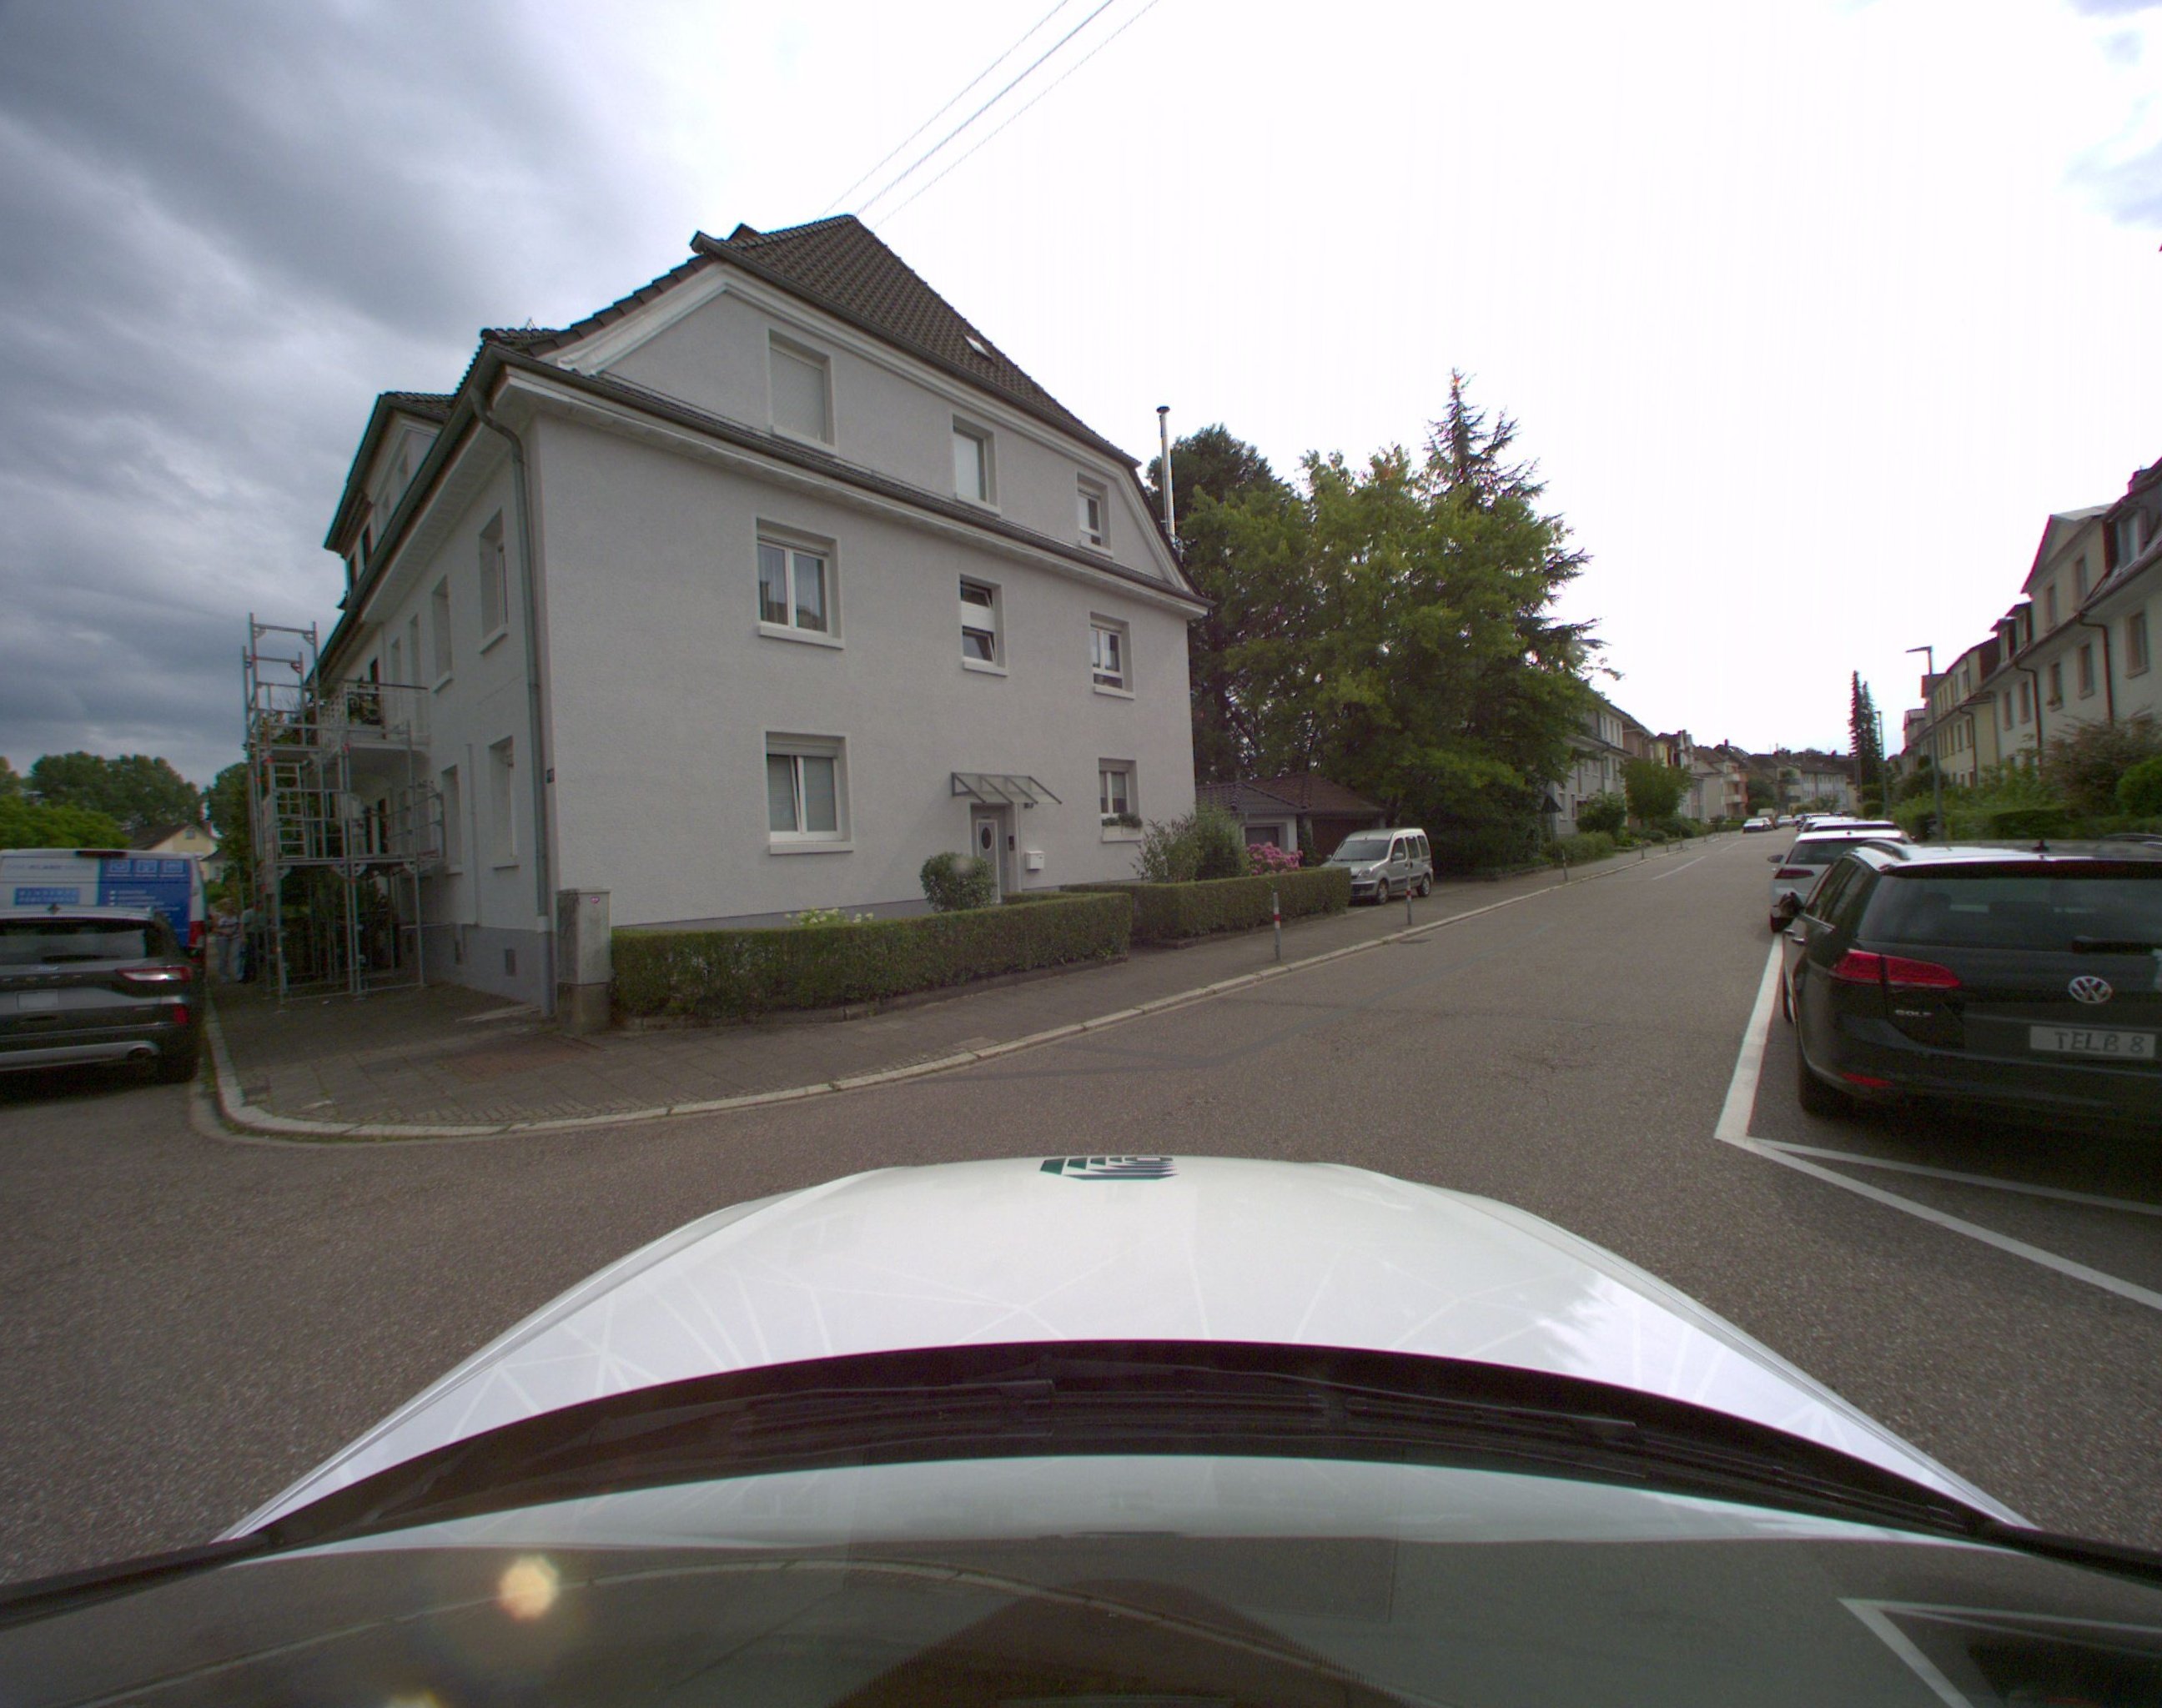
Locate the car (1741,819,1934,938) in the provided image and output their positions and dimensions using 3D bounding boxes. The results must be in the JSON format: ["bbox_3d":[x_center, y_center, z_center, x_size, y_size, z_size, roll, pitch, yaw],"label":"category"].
[{"bbox_3d":[11.551,0.284,12.478,1.836,1.471,4.201,-3,0,44],"label":"car"}]

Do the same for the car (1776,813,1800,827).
[{"bbox_3d":[93.562,-4.485,107.704,4.023,1.640,1.975,-3,0,-44],"label":"car"}]

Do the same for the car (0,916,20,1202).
[{"bbox_3d":[-5.342,1.020,2.505,1.832,1.520,3.993,-2,-2,-42],"label":"car"}]

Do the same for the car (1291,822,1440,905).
[{"bbox_3d":[7.234,0.200,20.514,1.975,1.837,4.024,-3,0,44],"label":"car"}]

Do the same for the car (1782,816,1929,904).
[{"bbox_3d":[15.206,0.067,16.045,1.836,1.471,4.201,-3,0,44],"label":"car"}]

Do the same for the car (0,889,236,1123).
[{"bbox_3d":[-9.890,1.303,7.887,4.285,1.727,2.013,-3,0,40],"label":"car"}]

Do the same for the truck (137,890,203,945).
[{"bbox_3d":[-49.003,3.359,43.786,4.525,2.657,2.150,-3,0,40],"label":"truck"}]

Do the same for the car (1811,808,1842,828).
[{"bbox_3d":[62.815,-3.033,68.611,1.836,1.578,4.201,-3,0,42],"label":"car"}]

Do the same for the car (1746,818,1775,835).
[{"bbox_3d":[72.756,-2.958,87.173,4.023,1.640,1.975,-3,0,-44],"label":"car"}]

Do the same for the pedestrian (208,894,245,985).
[{"bbox_3d":[-17.179,1.715,16.367,0.506,1.762,0.411,-5,-1,39],"label":"pedestrian"}]

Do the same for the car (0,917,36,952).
[{"bbox_3d":[-59.883,4.529,44.099,1.846,1.772,4.026,-5,-1,38],"label":"car"}]

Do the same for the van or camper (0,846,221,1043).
[{"bbox_3d":[-15.157,1.252,12.671,4.989,2.459,2.213,-3,0,42],"label":"van or camper"}]

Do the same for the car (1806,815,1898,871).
[{"bbox_3d":[23.391,-0.370,24.734,1.836,1.471,4.201,-3,0,44],"label":"car"}]

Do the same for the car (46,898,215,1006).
[{"bbox_3d":[-19.393,1.875,16.647,4.285,1.772,2.013,-3,0,40],"label":"car"}]

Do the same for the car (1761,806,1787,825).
[{"bbox_3d":[81.621,-4.553,95.919,1.975,2.013,4.024,-3,0,44],"label":"car"}]

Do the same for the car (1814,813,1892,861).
[{"bbox_3d":[27.145,-0.631,28.659,1.836,1.471,4.201,-3,0,44],"label":"car"}]

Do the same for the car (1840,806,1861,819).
[{"bbox_3d":[99.734,-5.412,105.518,1.836,1.578,4.201,-3,0,44],"label":"car"}]

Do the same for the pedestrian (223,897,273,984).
[{"bbox_3d":[-16.454,1.696,16.094,0.606,1.629,0.617,-3,-2,-44],"label":"pedestrian"}]

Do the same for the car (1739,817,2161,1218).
[{"bbox_3d":[5.170,0.580,4.883,1.836,1.471,4.202,-3,0,39],"label":"car"}]
